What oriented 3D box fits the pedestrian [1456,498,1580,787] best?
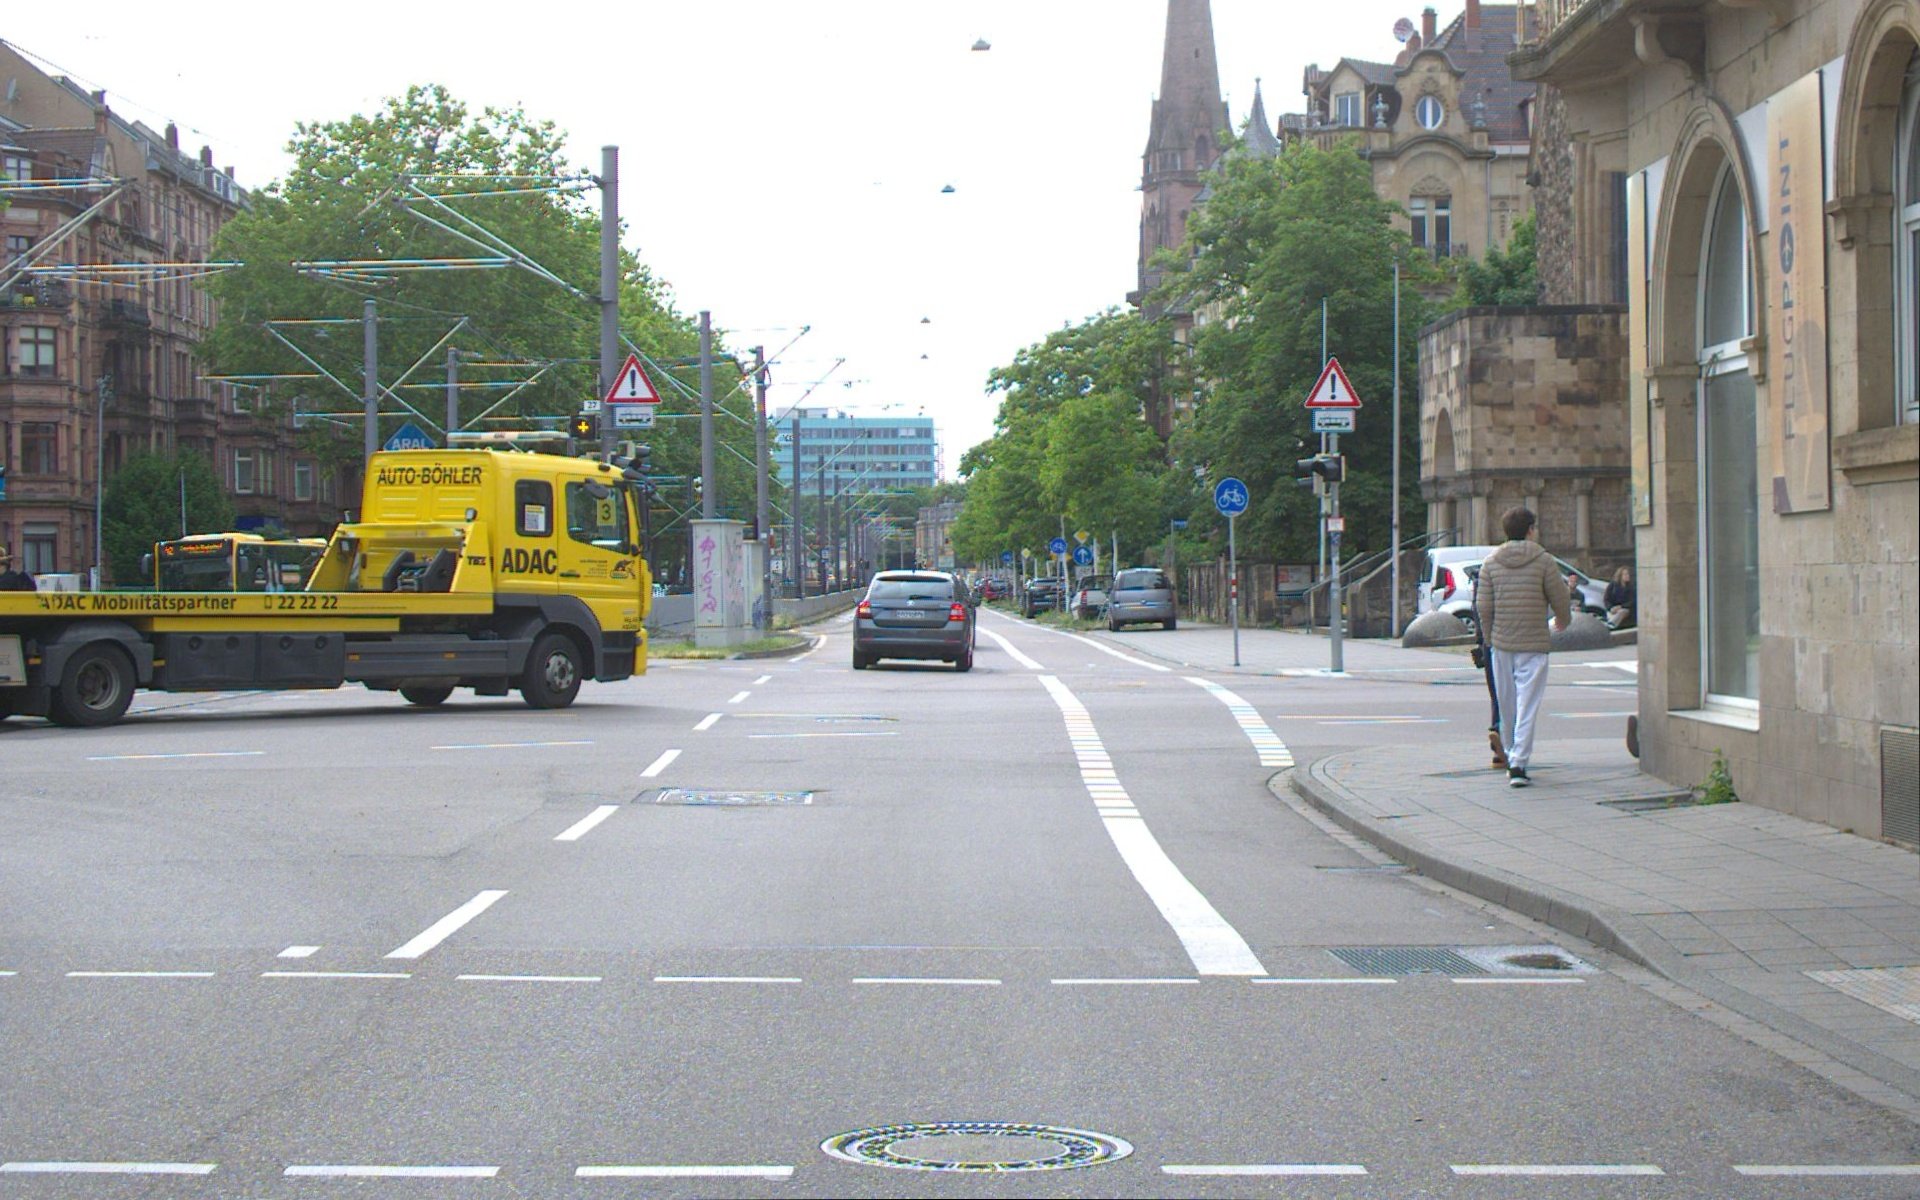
[{"bbox_3d":[3.596,0.266,22.129,0.583,1.807,1.014,1,0,19],"label":"pedestrian"}]

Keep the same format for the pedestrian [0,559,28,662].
[{"bbox_3d":[-14.325,0.151,51.398,0.653,1.532,0.466,1,0,-5],"label":"pedestrian"}]

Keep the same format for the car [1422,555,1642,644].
[{"bbox_3d":[10.769,-0.013,64.904,3.799,1.595,2.000,1,0,0],"label":"car"}]

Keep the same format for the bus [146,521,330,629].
[{"bbox_3d":[-22.285,-0.775,106.972,3.084,3.101,13.094,1,0,-1],"label":"bus"}]

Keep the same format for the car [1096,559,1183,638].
[{"bbox_3d":[4.686,-0.048,90.142,1.993,2.007,4.000,1,0,-1],"label":"car"}]

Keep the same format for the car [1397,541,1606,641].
[{"bbox_3d":[10.731,-0.182,68.314,3.799,1.897,2.000,1,0,0],"label":"car"}]

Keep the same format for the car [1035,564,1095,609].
[{"bbox_3d":[3.902,-0.505,128.481,1.993,1.602,4.164,-2,0,-1],"label":"car"}]

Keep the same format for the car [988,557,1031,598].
[{"bbox_3d":[2.471,-1.121,172.127,1.993,2.007,4.000,1,0,-1],"label":"car"}]

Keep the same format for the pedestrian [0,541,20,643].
[{"bbox_3d":[-14.529,-0.121,51.921,0.545,1.532,0.466,1,0,-5],"label":"pedestrian"}]

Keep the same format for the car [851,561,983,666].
[{"bbox_3d":[-0.671,0.174,50.812,1.835,1.464,3.993,1,0,-2],"label":"car"}]

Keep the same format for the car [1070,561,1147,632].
[{"bbox_3d":[4.280,-0.110,99.668,1.993,2.007,4.000,1,0,-1],"label":"car"}]

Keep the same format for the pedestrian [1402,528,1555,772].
[{"bbox_3d":[3.598,0.337,23.804,0.627,1.647,0.994,1,0,37],"label":"pedestrian"}]

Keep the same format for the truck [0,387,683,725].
[{"bbox_3d":[-7.308,-0.407,32.902,2.635,2.931,10.154,1,1,43],"label":"truck"}]
